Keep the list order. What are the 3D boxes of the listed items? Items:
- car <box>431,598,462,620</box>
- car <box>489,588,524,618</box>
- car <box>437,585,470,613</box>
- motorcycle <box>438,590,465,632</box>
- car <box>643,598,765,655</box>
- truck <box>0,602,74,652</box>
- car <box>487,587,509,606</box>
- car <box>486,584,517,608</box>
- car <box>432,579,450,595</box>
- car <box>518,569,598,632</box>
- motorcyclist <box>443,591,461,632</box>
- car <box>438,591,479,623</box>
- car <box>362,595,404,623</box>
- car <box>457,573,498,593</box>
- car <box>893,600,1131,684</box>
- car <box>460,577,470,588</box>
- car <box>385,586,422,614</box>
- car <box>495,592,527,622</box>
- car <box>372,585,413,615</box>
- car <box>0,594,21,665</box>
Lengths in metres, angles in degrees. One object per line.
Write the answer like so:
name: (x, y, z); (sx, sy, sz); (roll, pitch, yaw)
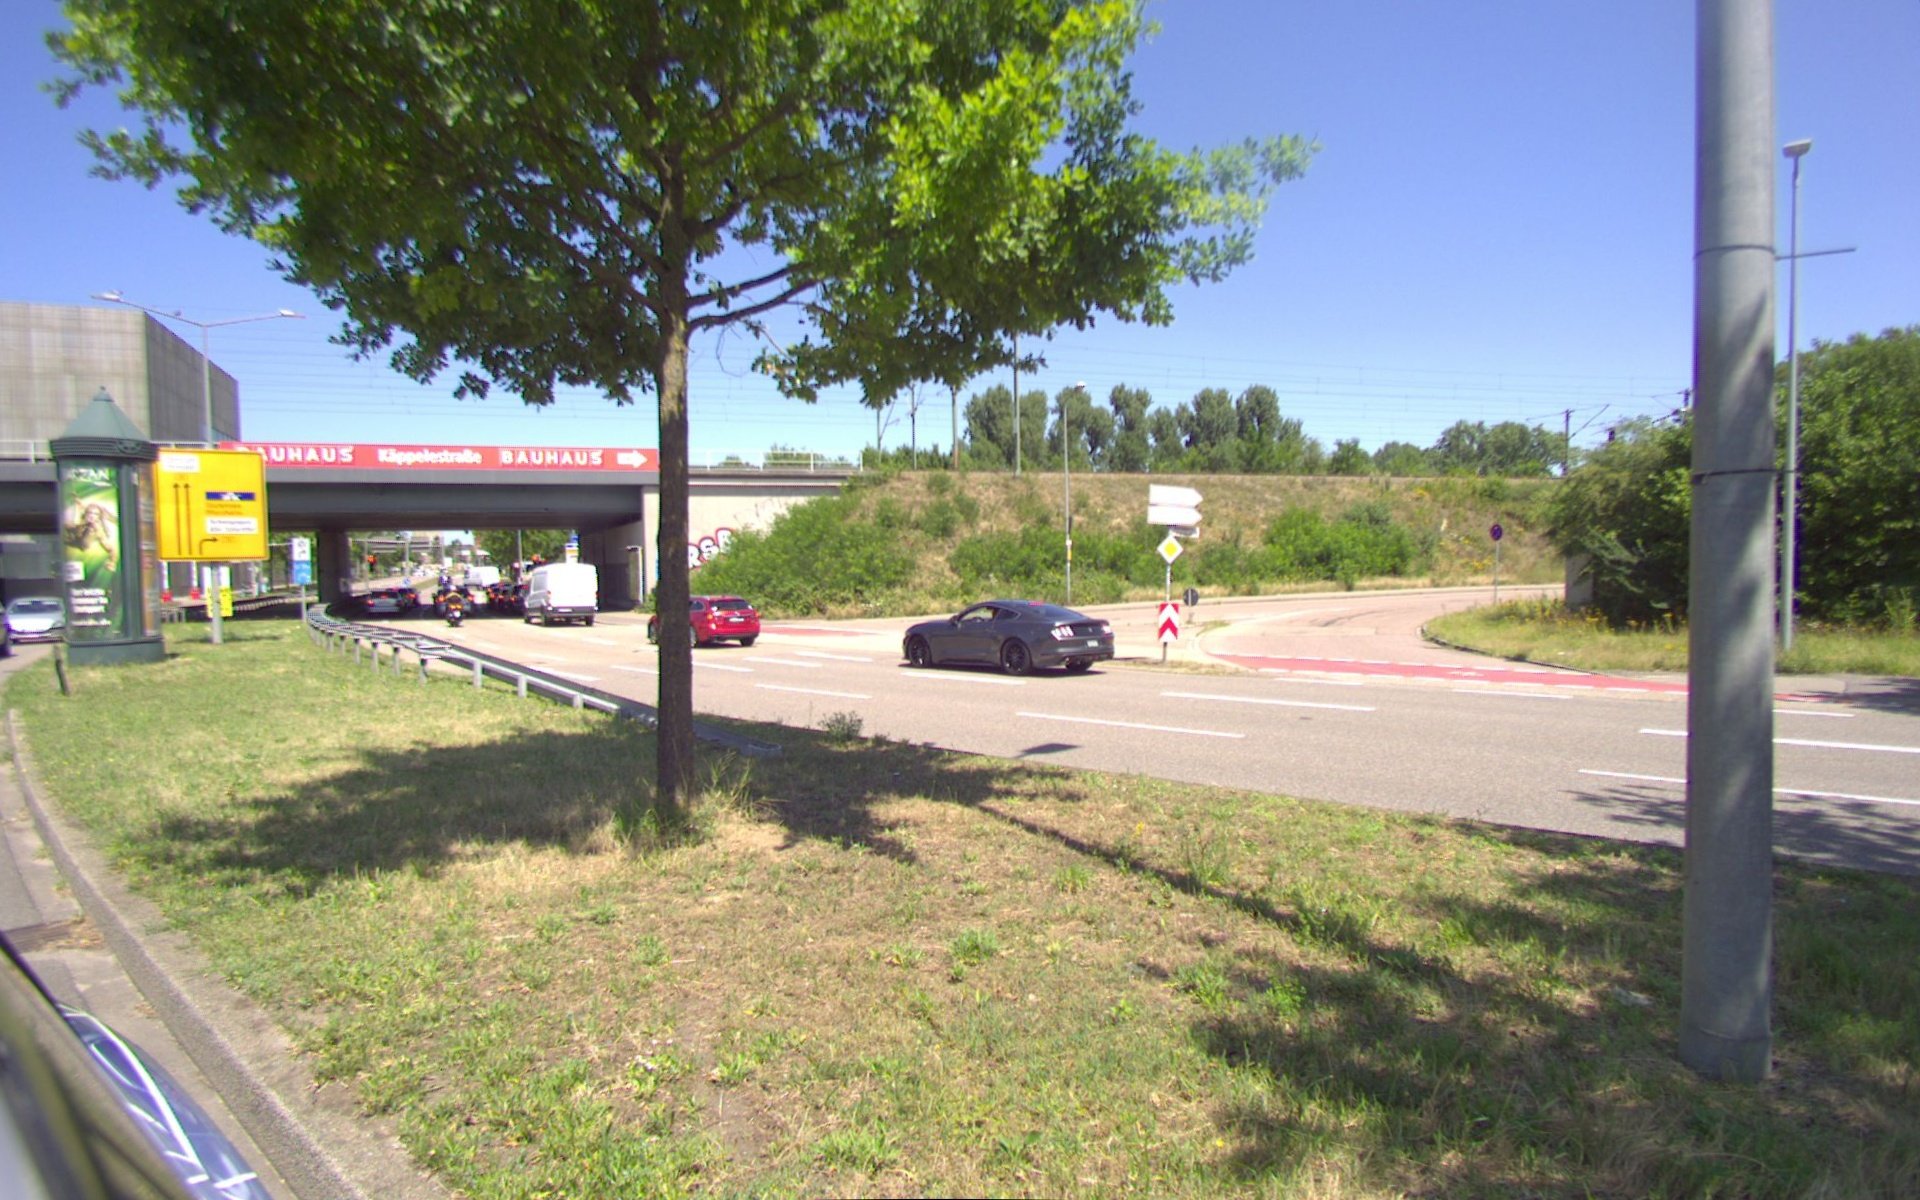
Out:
car: (-30.171, 0.522, 59.516); (1.250, 1.194, 2.787); (-1, 1, -20)
car: (-27.233, 0.198, 60.676); (1.747, 1.680, 4.028); (-2, 1, -26)
car: (-35.455, -0.107, 70.906); (1.875, 1.874, 4.013); (-1, 1, -24)
motorcycle: (-20.776, 0.430, 41.325); (0.589, 1.691, 2.431); (-1, 1, -35)
car: (-7.404, 0.694, 28.928); (1.806, 1.448, 4.536); (-1, 1, -36)
truck: (-31.055, 0.849, 33.909); (1.704, 1.513, 4.009); (-1, 1, -37)
car: (-32.806, -0.260, 71.886); (1.166, 1.257, 2.701); (-1, 1, -20)
car: (-29.749, -0.262, 65.763); (1.548, 1.514, 3.418); (-1, 1, -20)
car: (-68.469, -1.663, 133.474); (1.965, 2.029, 4.013); (-1, 1, -25)
car: (-17.193, 0.089, 43.087); (2.066, 2.519, 5.825); (-1, -1, -33)
motorcyclist: (-20.740, 0.462, 41.314); (0.579, 1.638, 0.564); (-1, 1, -34)
car: (-25.771, 0.340, 52.132); (1.611, 1.579, 4.086); (0, 0, -22)
car: (-29.980, 0.441, 52.654); (1.611, 1.413, 4.235); (0, 0, -26)
car: (-54.498, -1.897, 114.332); (6.384, 2.118, 1.972); (0, 1, 43)
car: (0.861, 0.707, 19.228); (1.788, 1.343, 4.574); (-2, 1, -42)
car: (-102.132, -3.605, 208.625); (1.809, 2.029, 4.013); (-1, 1, -27)
car: (-38.485, -0.022, 70.097); (1.875, 1.874, 4.013); (-1, 1, -24)
car: (-24.177, 0.341, 54.596); (1.493, 1.553, 3.692); (-1, 1, -23)
car: (-36.307, -0.024, 64.781); (1.875, 1.874, 4.013); (-1, 1, -24)
car: (-24.275, 0.735, 24.362); (1.816, 1.708, 3.710); (-1, 1, -33)
